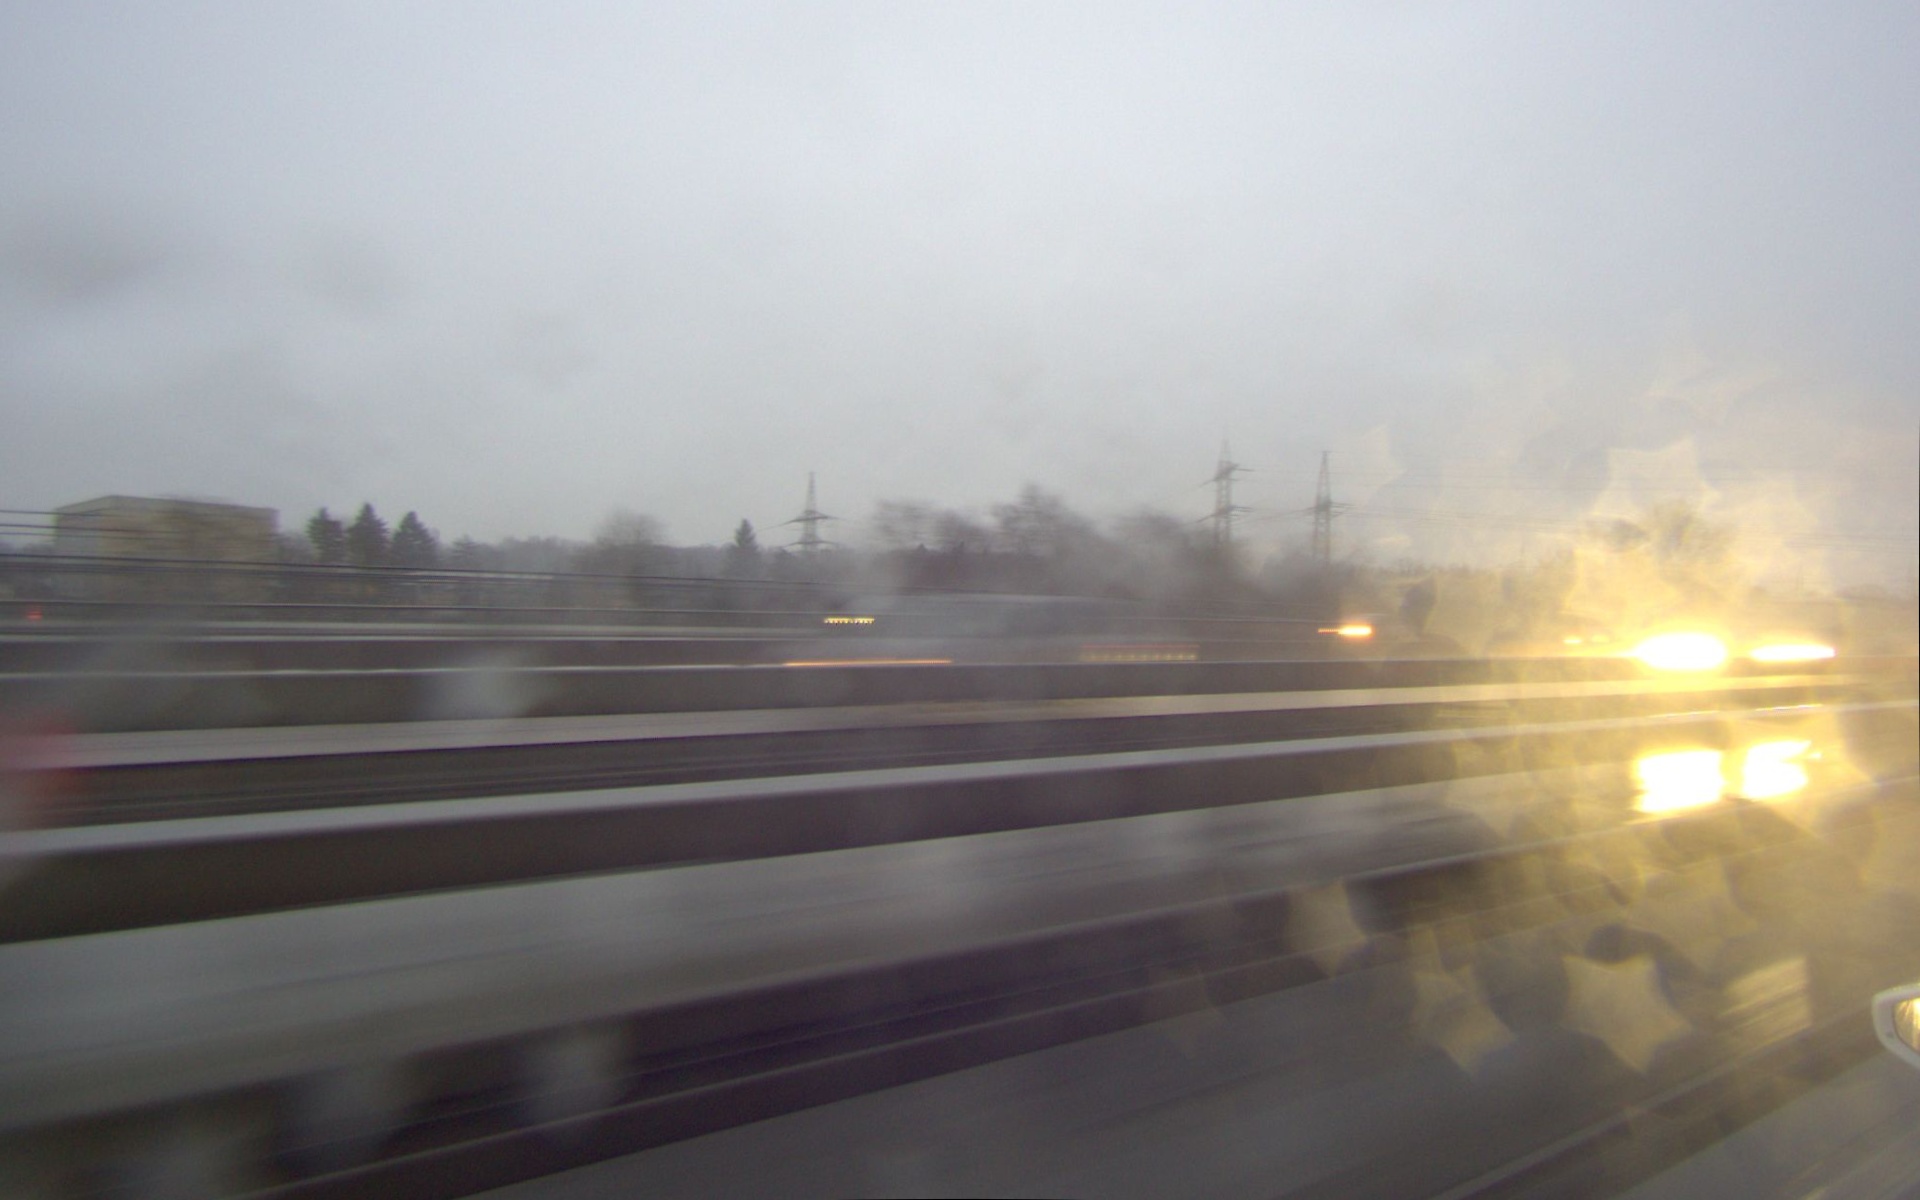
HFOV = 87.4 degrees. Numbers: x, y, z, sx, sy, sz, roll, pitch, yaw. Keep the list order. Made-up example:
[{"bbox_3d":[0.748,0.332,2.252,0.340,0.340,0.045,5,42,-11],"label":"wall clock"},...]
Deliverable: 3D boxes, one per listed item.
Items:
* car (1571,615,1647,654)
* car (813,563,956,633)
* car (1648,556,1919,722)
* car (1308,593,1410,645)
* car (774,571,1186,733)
[{"bbox_3d":[35.703,1.893,55.216,3.955,2.040,1.983,1,0,-32],"label":"car"},{"bbox_3d":[-2.321,-0.051,31.040,3.953,2.040,1.984,0,0,-31],"label":"car"},{"bbox_3d":[13.090,0.562,15.658,4.995,2.244,1.983,1,0,-31],"label":"car"},{"bbox_3d":[16.924,0.820,42.545,3.954,2.040,1.984,2,0,-31],"label":"car"},{"bbox_3d":[0.307,0.556,12.099,4.603,1.617,1.983,1,0,-31],"label":"car"}]
